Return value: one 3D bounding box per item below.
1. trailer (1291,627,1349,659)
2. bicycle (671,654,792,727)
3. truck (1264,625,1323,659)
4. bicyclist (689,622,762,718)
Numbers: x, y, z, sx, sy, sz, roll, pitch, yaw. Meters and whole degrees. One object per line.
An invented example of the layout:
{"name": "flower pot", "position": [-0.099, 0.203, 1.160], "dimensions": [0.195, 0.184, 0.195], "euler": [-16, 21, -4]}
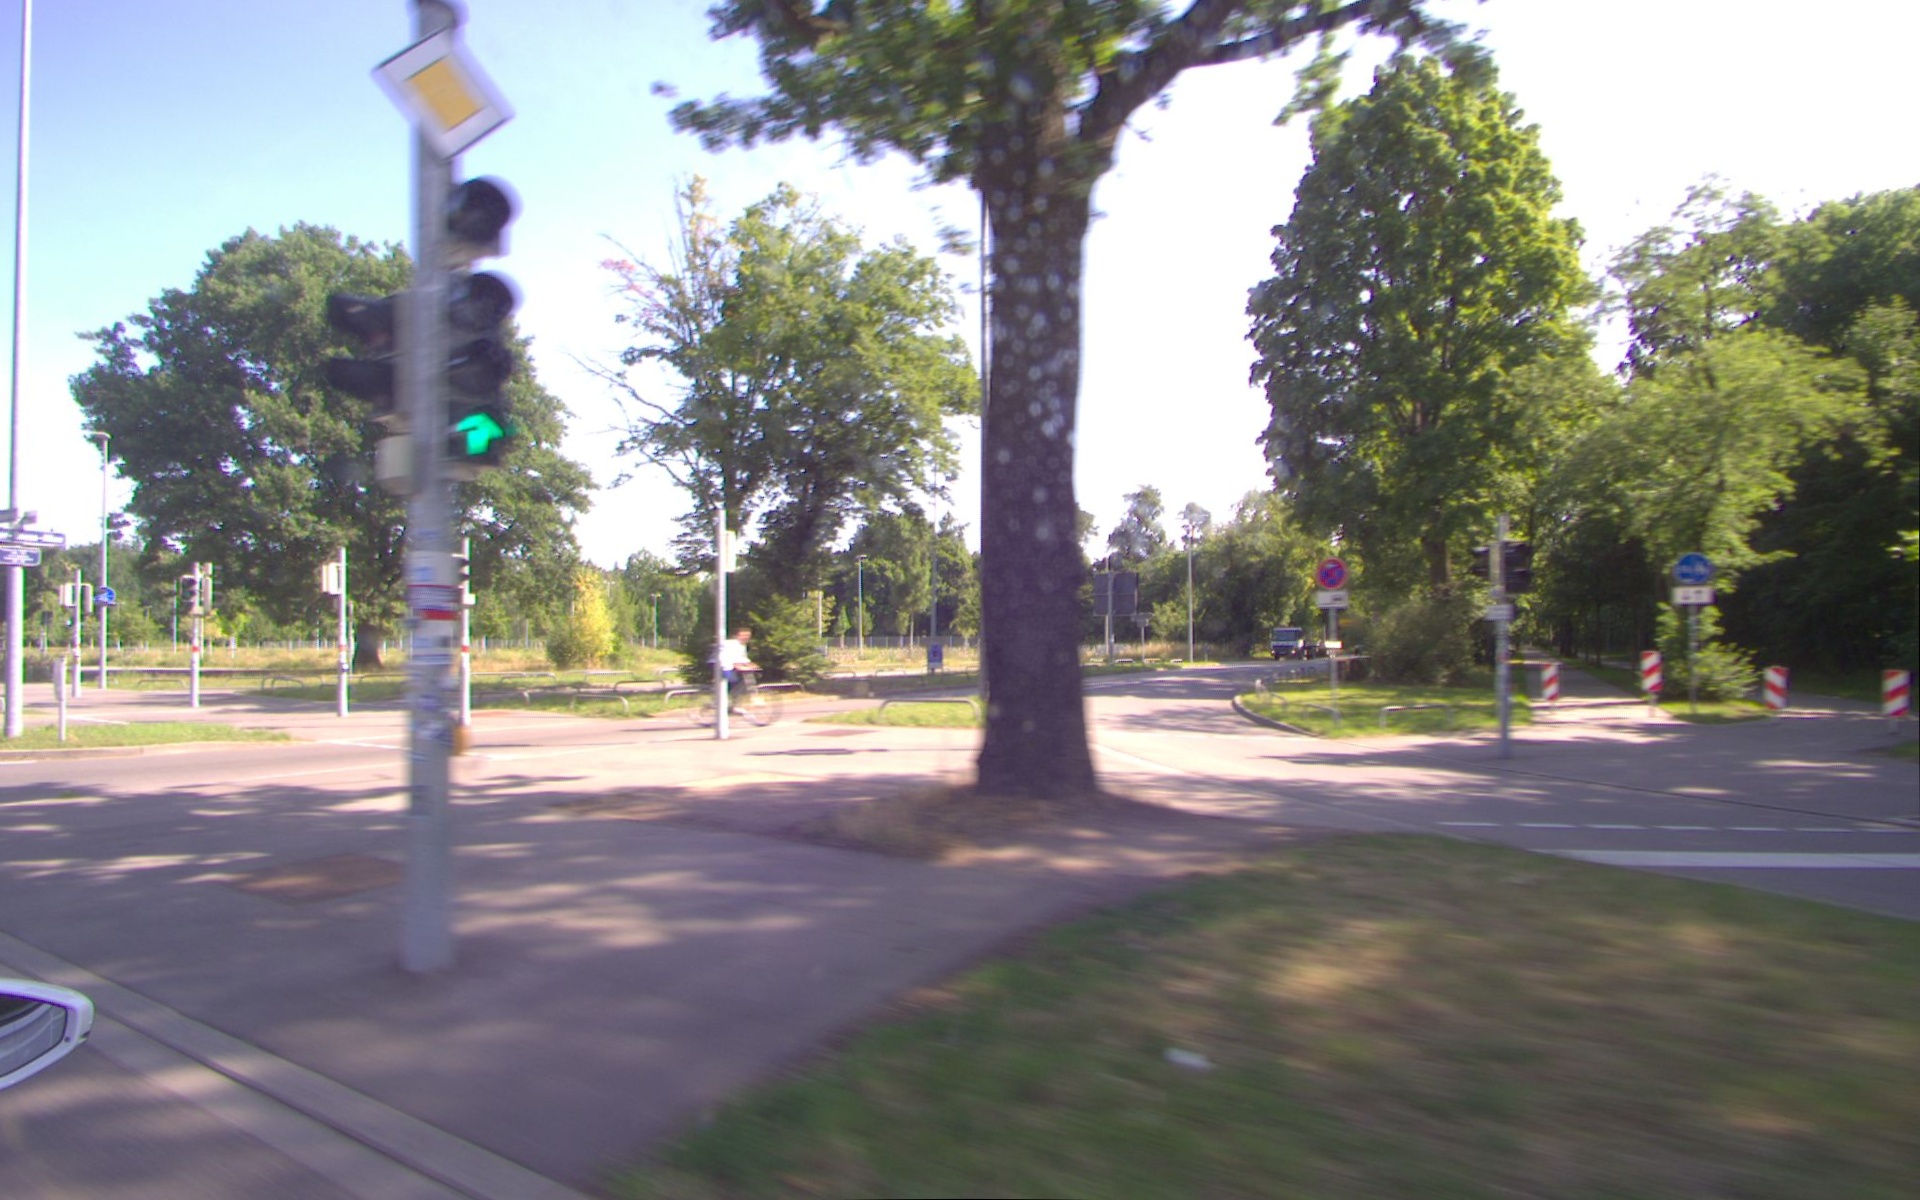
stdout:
{"name": "trailer", "position": [31.661, 3.815, 87.945], "dimensions": [2.671, 2.721, 6.841], "euler": [-2, -3, 39]}
{"name": "bicycle", "position": [-4.076, 1.585, 17.868], "dimensions": [2.065, 1.214, 0.725], "euler": [-1, -2, 22]}
{"name": "truck", "position": [27.673, 3.500, 82.883], "dimensions": [2.648, 2.752, 6.160], "euler": [-2, -3, 39]}
{"name": "bicyclist", "position": [-4.194, 1.239, 17.931], "dimensions": [1.040, 1.660, 0.725], "euler": [-1, -1, 22]}
